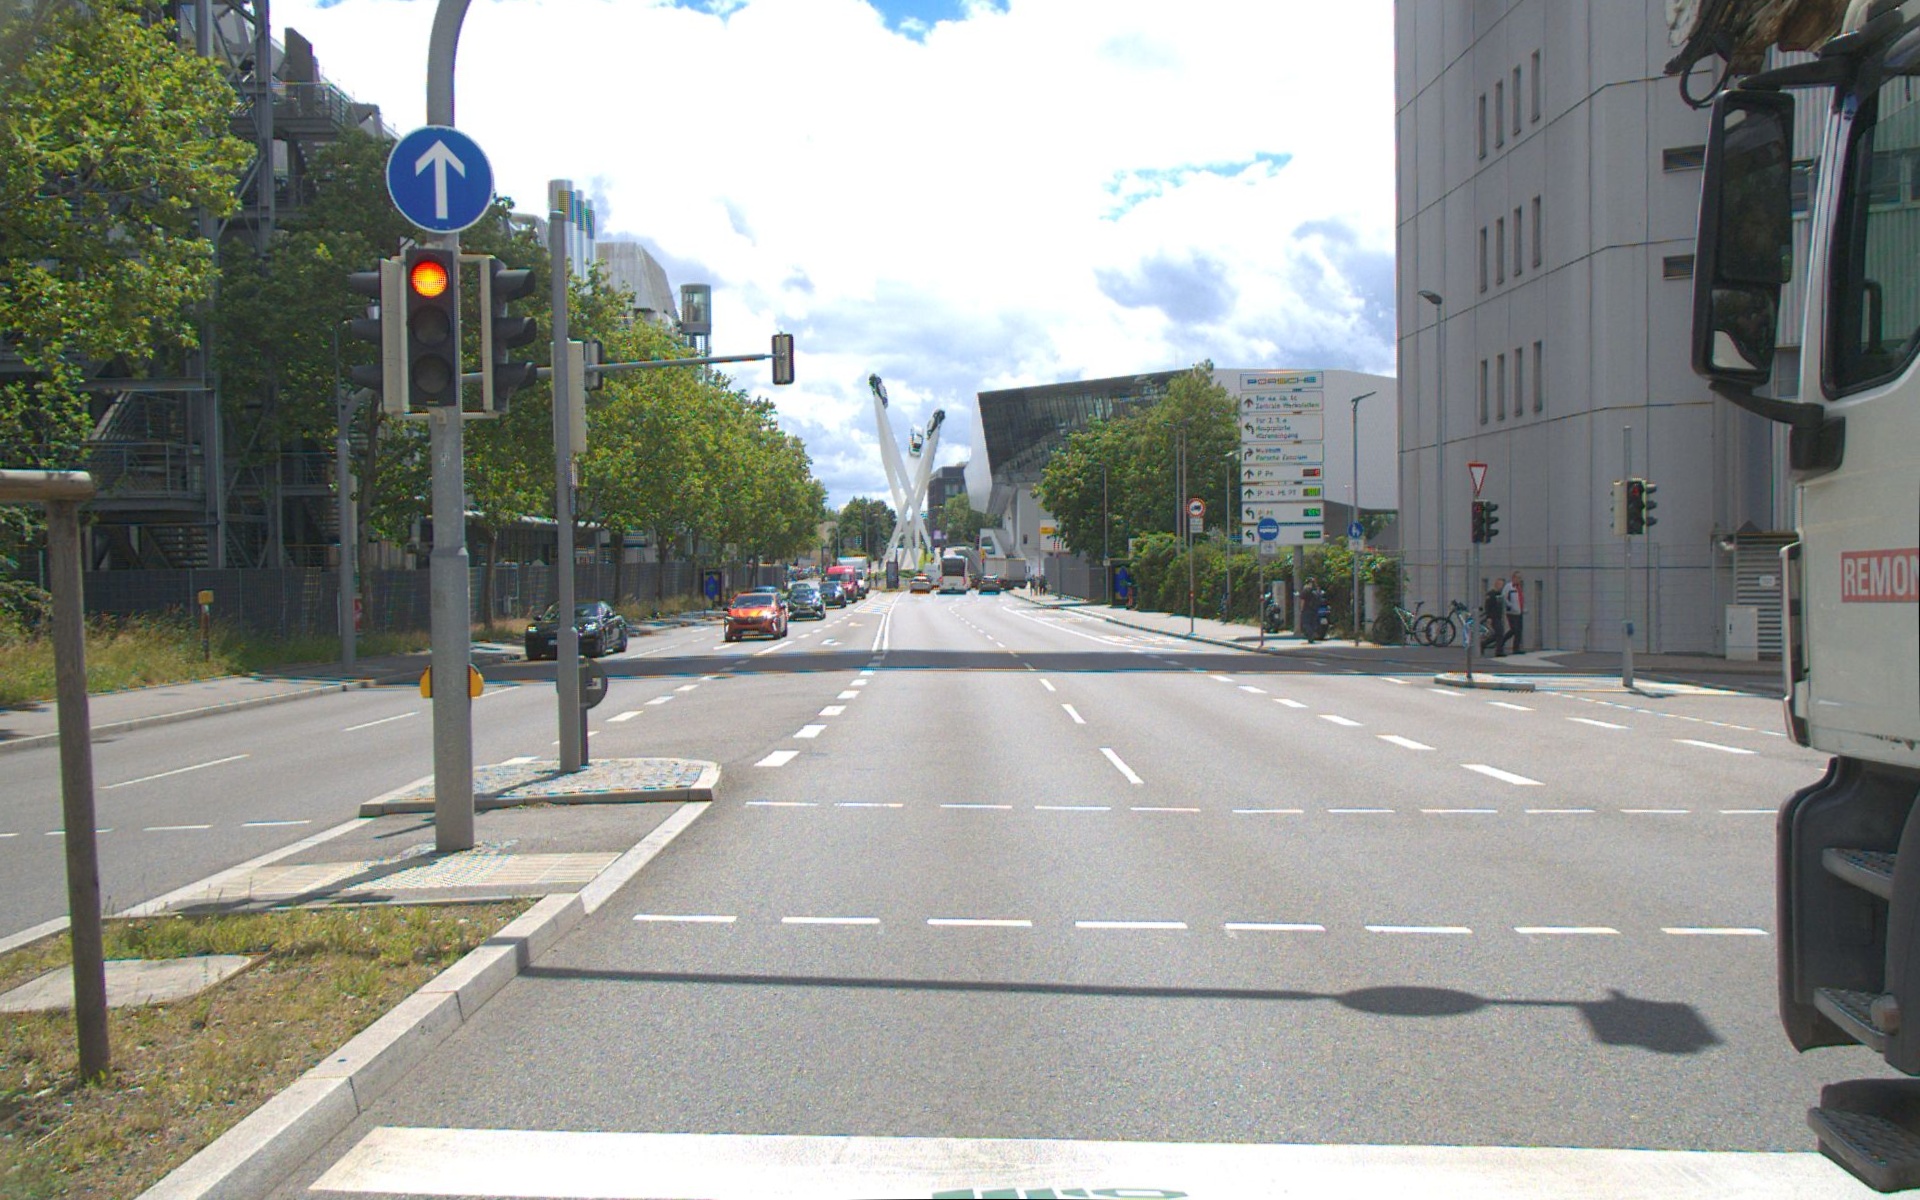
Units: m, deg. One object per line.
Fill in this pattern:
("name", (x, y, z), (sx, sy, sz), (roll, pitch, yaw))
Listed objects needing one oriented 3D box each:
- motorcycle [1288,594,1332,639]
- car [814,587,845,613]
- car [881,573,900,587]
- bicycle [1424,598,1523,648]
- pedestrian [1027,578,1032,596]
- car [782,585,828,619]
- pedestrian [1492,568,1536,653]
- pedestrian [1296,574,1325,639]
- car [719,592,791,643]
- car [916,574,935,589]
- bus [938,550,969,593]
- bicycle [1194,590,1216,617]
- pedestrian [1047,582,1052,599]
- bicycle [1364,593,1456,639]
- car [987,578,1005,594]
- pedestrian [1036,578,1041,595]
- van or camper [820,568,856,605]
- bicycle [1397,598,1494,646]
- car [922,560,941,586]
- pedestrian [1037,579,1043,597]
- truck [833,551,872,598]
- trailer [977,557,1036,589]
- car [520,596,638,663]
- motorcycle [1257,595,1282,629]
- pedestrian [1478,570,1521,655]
("motorcycle", (9.553, 0.448, 45.169), (0.410, 1.186, 1.951), (1, 0, -11))
("car", (-7.790, -0.014, 99.171), (1.525, 1.473, 3.772), (-2, 0, 0))
("car", (-6.522, -1.873, 155.617), (1.525, 1.295, 3.701), (-2, 0, 0))
("bicycle", (12.002, 0.527, 38.705), (2.149, 1.105, 0.475), (1, -1, 35))
("pedestrian", (5.760, -1.088, 137.215), (0.378, 1.446, 0.423), (1, -1, 0))
("car", (-7.099, 0.067, 75.957), (1.733, 1.445, 3.701), (-2, 0, 0))
("pedestrian", (12.279, 0.233, 36.655), (0.697, 1.825, 0.692), (-2, 1, 33))
("pedestrian", (9.105, 0.158, 42.969), (0.523, 1.669, 0.657), (1, -1, -6))
("car", (-6.355, 0.510, 51.638), (1.733, 1.445, 3.701), (-2, 0, 0))
("car", (-3.045, -1.667, 148.501), (1.525, 1.295, 3.701), (-2, 0, 1))
("bus", (-0.559, -2.545, 150.252), (2.730, 3.750, 6.942), (1, 0, 0))
("bicycle", (9.676, 0.151, 65.416), (0.410, 1.040, 1.910), (1, 0, -5))
("pedestrian", (7.254, -0.770, 134.422), (0.378, 1.446, 0.423), (1, -1, 0))
("bicycle", (11.157, 0.383, 41.040), (2.180, 1.105, 0.475), (1, -1, 35))
("car", (3.161, -1.264, 146.216), (1.525, 1.295, 3.701), (-2, 0, 1))
("pedestrian", (6.488, -1.102, 136.459), (0.378, 1.446, 0.423), (1, -1, 0))
("van or camper", (-8.376, -0.944, 113.853), (2.005, 2.509, 5.594), (0, 0, 0))
("bicycle", (11.643, 0.525, 39.715), (2.180, 1.105, 0.475), (1, -1, 35))
("car", (-2.955, -2.773, 171.070), (1.806, 2.669, 3.999), (1, 0, -1))
("pedestrian", (6.492, -0.944, 134.235), (0.378, 1.446, 0.423), (1, -1, 0))
("truck", (-8.195, -1.896, 126.774), (2.538, 3.382, 7.078), (1, 0, 0))
("trailer", (4.898, -2.794, 172.214), (3.250, 3.047, 10.380), (1, 0, 18))
("car", (-9.769, 0.711, 42.792), (1.878, 1.514, 4.772), (-2, 0, 0))
("motorcycle", (9.745, 0.367, 52.156), (0.448, 1.040, 1.913), (1, 0, 1))
("pedestrian", (11.783, 0.271, 36.137), (0.697, 1.825, 0.641), (-2, 1, 32))
